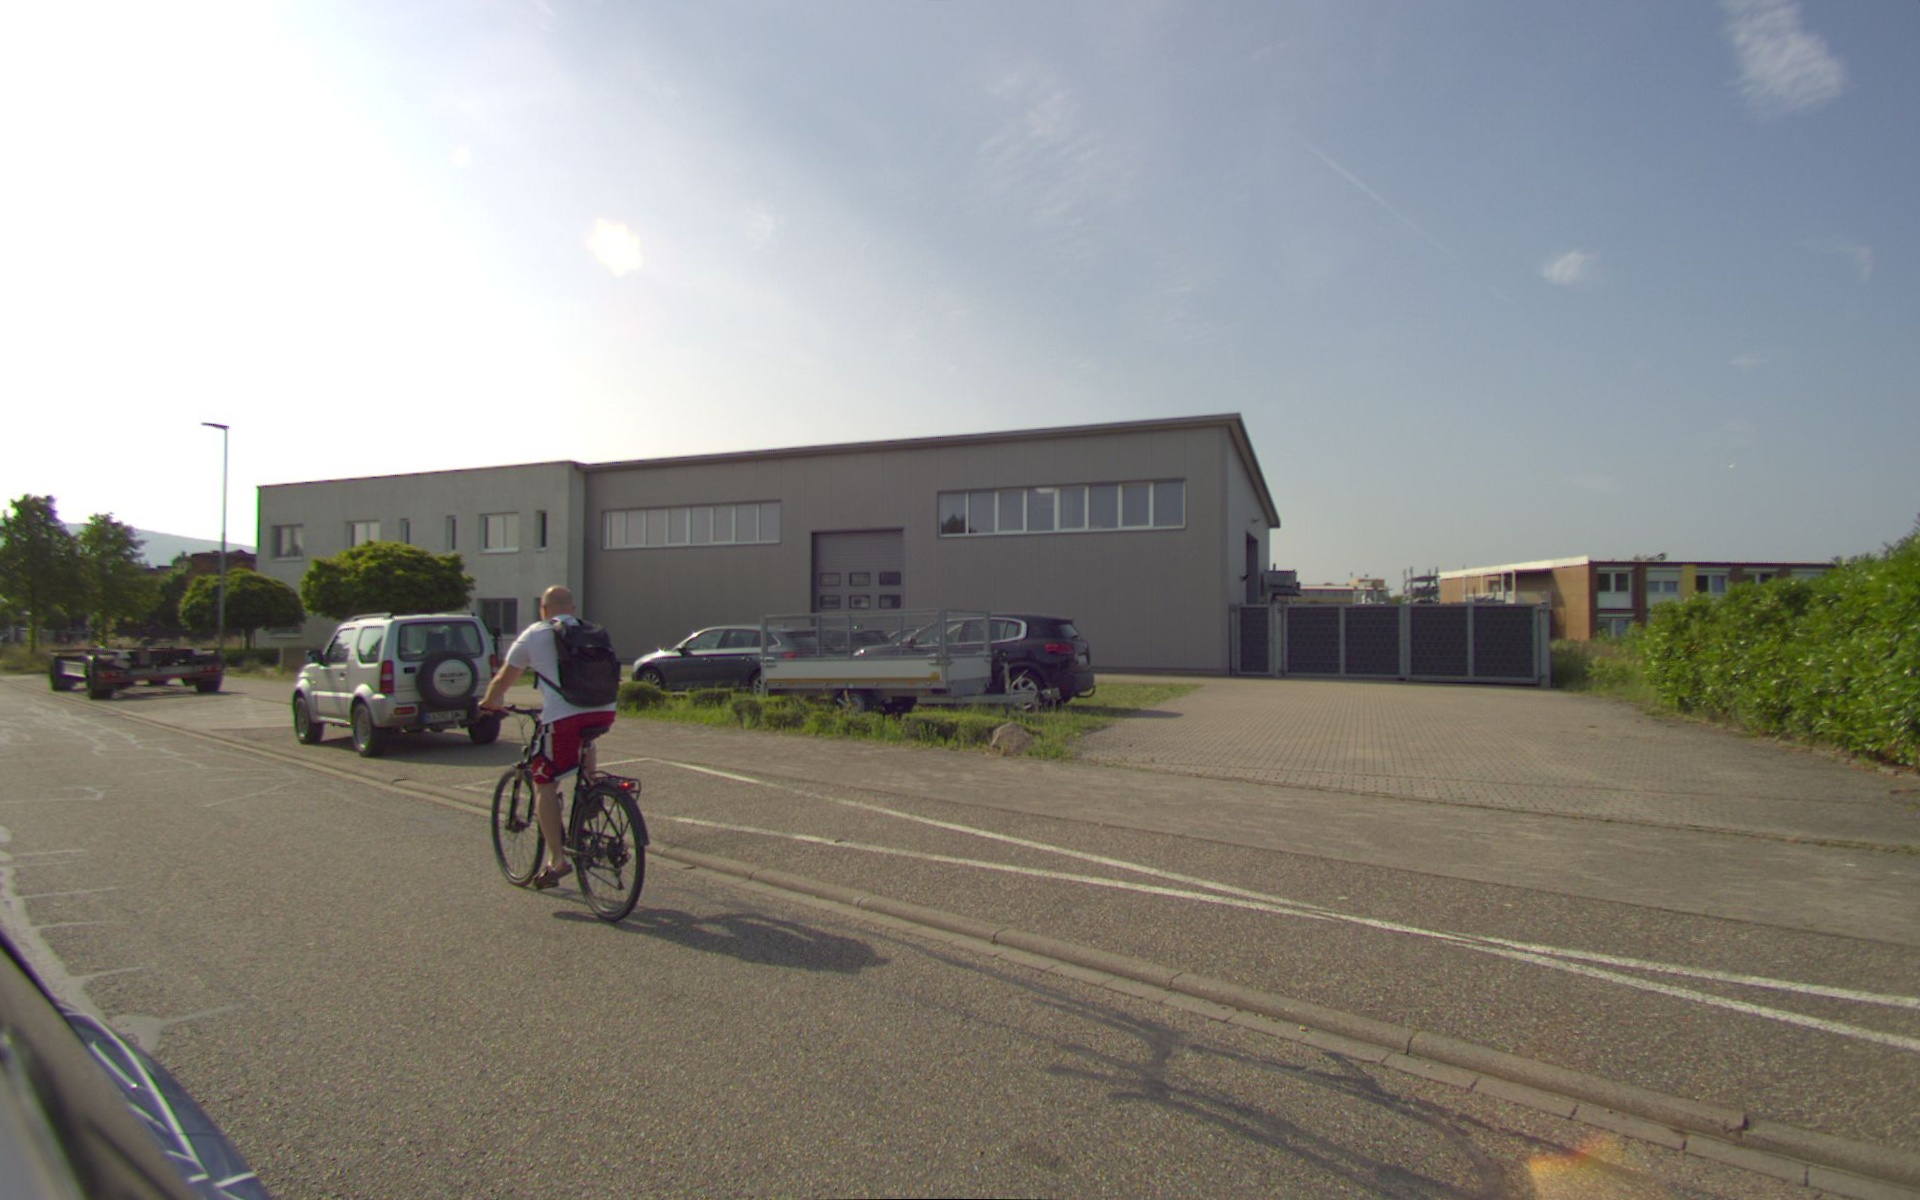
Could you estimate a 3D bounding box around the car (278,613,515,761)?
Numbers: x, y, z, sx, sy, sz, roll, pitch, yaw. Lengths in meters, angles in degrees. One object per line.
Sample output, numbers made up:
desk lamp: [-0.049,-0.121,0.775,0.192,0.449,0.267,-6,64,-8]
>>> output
car: [-7.432,1.039,13.213,3.642,1.663,1.580,-2,-2,41]

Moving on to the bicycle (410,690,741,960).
bicycle: [-2.185,1.100,5.568,2.218,1.131,0.708,-2,-5,41]

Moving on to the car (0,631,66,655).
car: [-70.597,3.242,76.803,1.999,1.741,3.944,-2,-3,42]

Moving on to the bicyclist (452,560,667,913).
bicyclist: [-2.234,0.690,5.616,1.165,1.732,0.632,-2,-3,41]

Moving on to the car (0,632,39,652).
car: [-87.261,3.848,92.615,1.985,1.807,3.974,-1,-2,19]

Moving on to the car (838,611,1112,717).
car: [0.265,1.069,17.742,4.394,1.671,1.980,-1,-2,24]

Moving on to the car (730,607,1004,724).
car: [-1.420,0.935,15.495,3.794,1.584,1.824,-1,0,25]

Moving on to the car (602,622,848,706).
car: [-4.570,1.187,19.699,4.394,1.487,1.966,-1,-2,24]

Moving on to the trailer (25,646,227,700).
trailer: [-21.821,1.772,26.207,9.726,1.082,2.519,-2,-1,41]
